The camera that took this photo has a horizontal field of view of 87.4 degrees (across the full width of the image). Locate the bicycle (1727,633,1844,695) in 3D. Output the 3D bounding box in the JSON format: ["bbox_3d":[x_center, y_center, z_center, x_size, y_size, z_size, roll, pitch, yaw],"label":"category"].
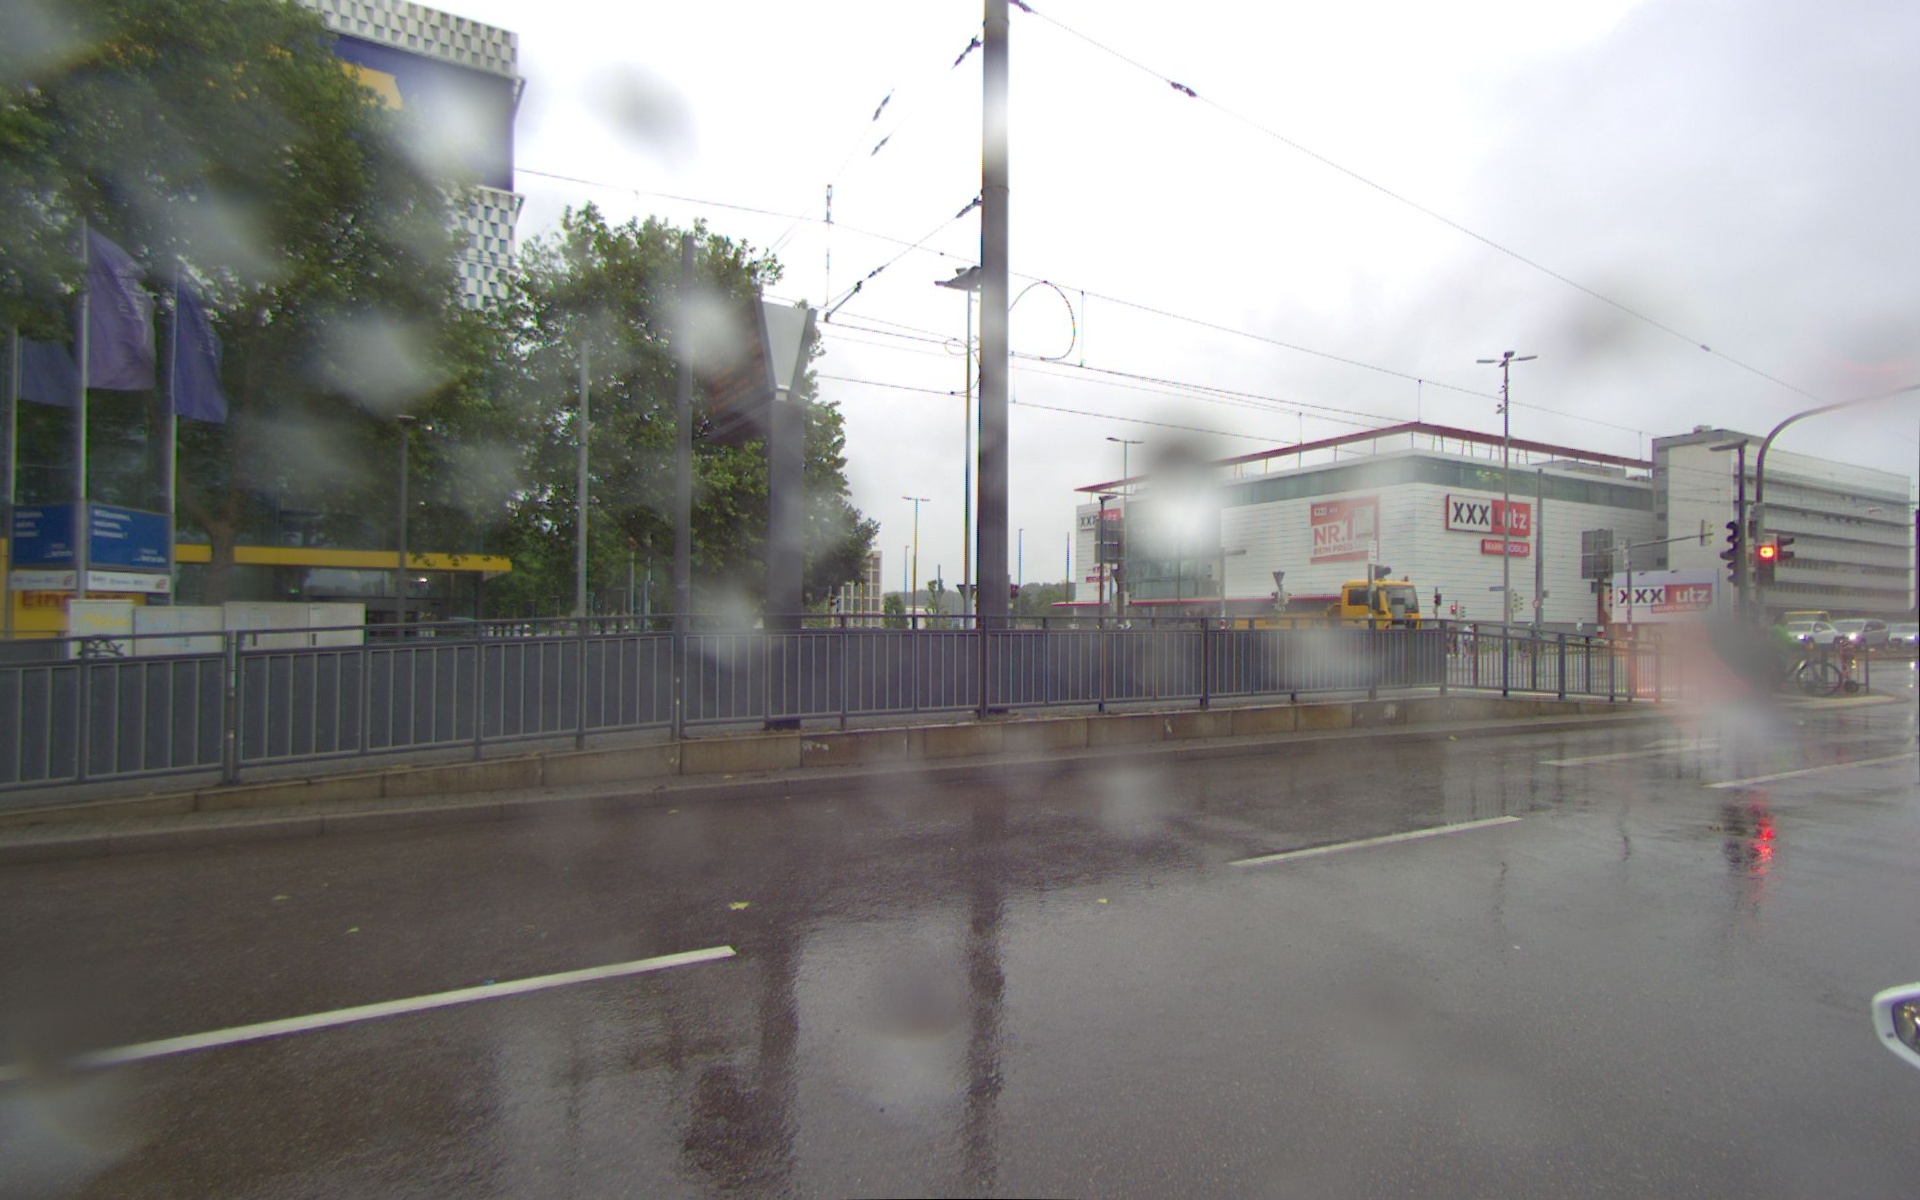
[{"bbox_3d":[16.786,1.282,20.464,0.409,1.048,1.742,2,3,-31],"label":"bicycle"}]

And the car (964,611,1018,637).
[{"bbox_3d":[2.175,1.666,70.212,3.723,1.645,2.001,2,0,2],"label":"car"}]

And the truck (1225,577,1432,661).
[{"bbox_3d":[13.617,0.653,37.718,2.614,2.853,7.076,2,0,-34],"label":"truck"}]

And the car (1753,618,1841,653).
[{"bbox_3d":[39.726,1.694,47.670,3.823,1.512,1.693,2,0,-25],"label":"car"}]

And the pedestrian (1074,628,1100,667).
[{"bbox_3d":[5.192,1.924,40.927,0.863,1.557,0.560,2,0,-31],"label":"pedestrian"}]

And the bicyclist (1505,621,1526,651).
[{"bbox_3d":[28.275,1.824,51.114,0.639,1.483,0.681,2,0,-29],"label":"bicyclist"}]

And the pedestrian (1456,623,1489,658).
[{"bbox_3d":[25.222,2.001,49.462,1.063,1.654,1.027,2,0,1],"label":"pedestrian"}]

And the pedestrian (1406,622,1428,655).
[{"bbox_3d":[23.321,1.952,51.247,0.914,1.654,0.694,2,0,-42],"label":"pedestrian"}]

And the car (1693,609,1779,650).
[{"bbox_3d":[40.402,1.532,52.298,3.947,2.040,1.987,2,0,-26],"label":"car"}]

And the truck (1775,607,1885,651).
[{"bbox_3d":[49.620,1.657,57.249,7.542,2.309,2.341,2,0,-30],"label":"truck"}]

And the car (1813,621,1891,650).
[{"bbox_3d":[44.832,1.794,50.493,3.780,1.354,1.582,2,0,-26],"label":"car"}]

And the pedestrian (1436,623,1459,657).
[{"bbox_3d":[24.290,1.975,50.064,0.914,1.654,0.694,2,0,-42],"label":"pedestrian"}]

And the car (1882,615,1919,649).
[{"bbox_3d":[51.378,1.724,53.611,3.947,1.722,1.886,2,0,-26],"label":"car"}]

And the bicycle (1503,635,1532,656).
[{"bbox_3d":[28.343,2.323,51.093,1.688,1.000,0.448,2,0,-30],"label":"bicycle"}]

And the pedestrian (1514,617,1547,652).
[{"bbox_3d":[27.453,1.649,48.317,0.996,1.654,0.917,2,0,-19],"label":"pedestrian"}]
